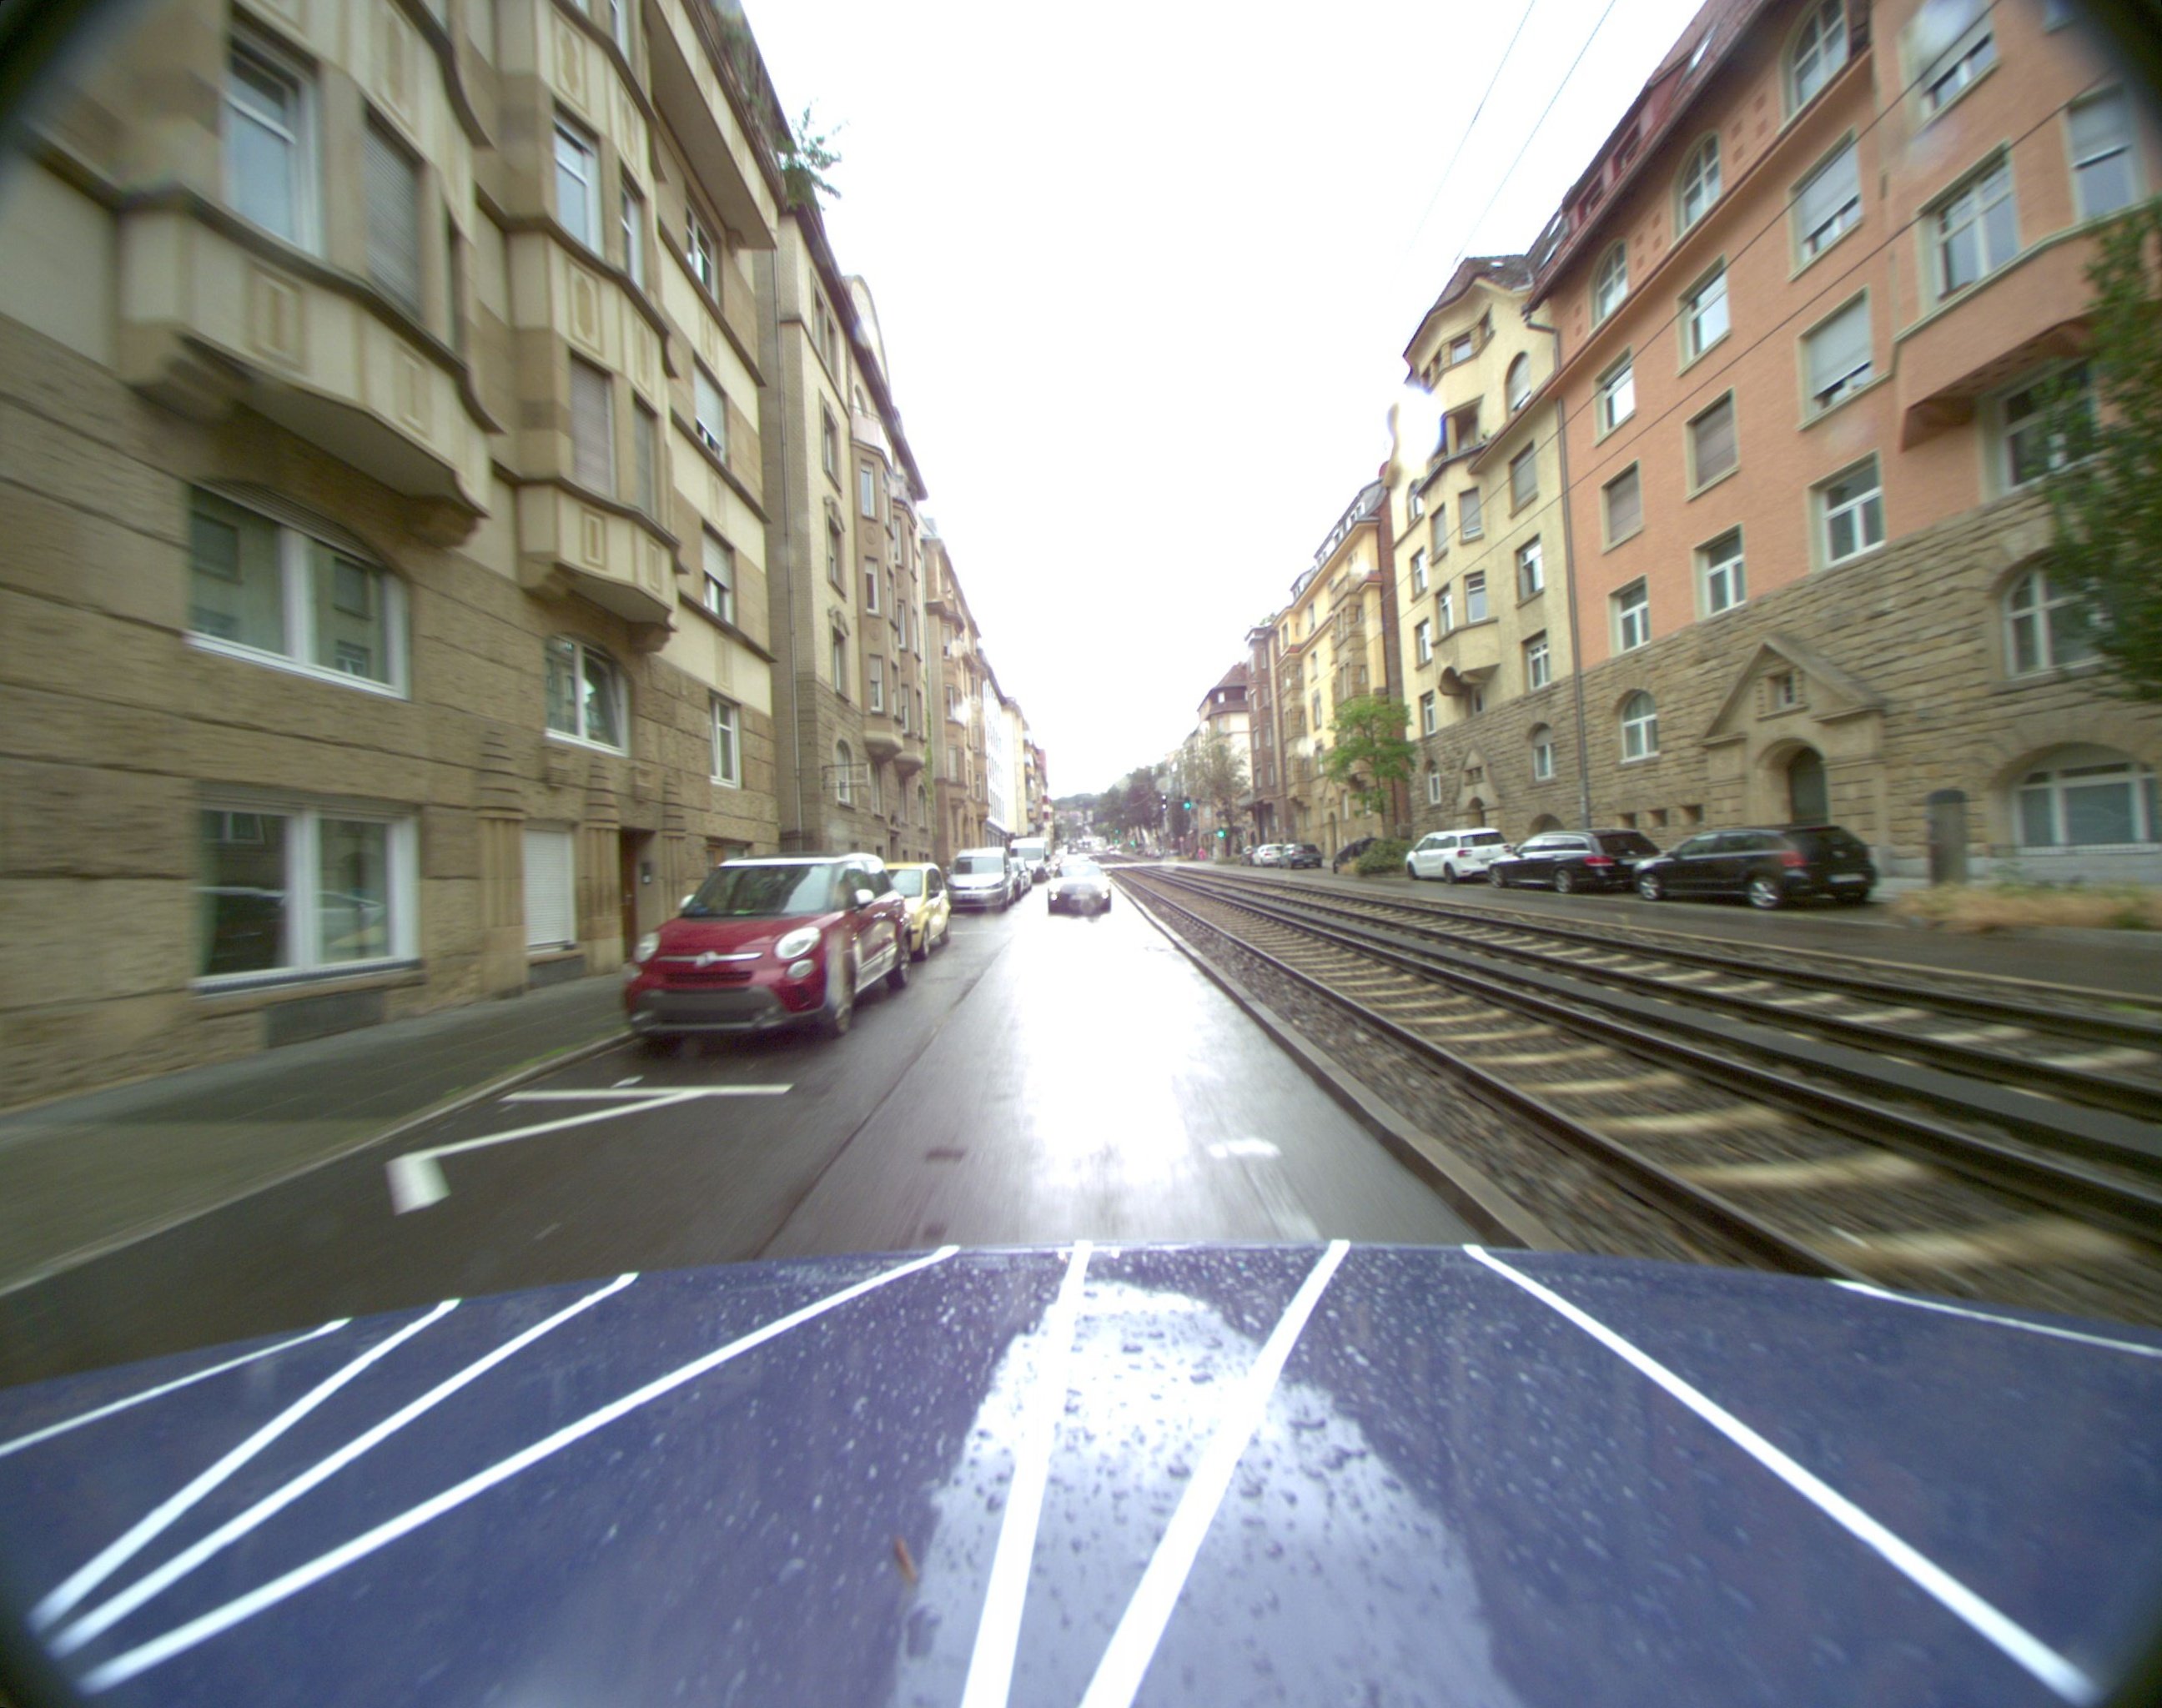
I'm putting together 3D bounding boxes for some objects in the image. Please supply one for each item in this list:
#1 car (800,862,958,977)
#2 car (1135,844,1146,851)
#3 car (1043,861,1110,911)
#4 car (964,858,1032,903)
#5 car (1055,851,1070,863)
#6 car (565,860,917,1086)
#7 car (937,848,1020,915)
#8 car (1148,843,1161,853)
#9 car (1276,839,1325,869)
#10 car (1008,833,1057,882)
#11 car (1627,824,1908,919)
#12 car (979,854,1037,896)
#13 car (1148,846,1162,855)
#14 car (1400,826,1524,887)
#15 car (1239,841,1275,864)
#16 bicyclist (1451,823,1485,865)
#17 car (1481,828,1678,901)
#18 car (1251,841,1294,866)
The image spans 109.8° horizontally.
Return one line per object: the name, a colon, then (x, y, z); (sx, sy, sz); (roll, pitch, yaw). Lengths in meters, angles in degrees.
car: (-3.176, 0.959, 12.650); (1.632, 1.502, 3.531); (-3, 0, -1)
car: (12.596, -1.450, 161.227); (1.794, 1.339, 4.257); (-2, 1, 0)
car: (-0.086, 0.854, 22.026); (1.737, 1.262, 4.258); (0, 0, 1)
car: (-2.925, 0.905, 27.696); (1.931, 1.380, 3.982); (-3, 0, 1)
car: (-2.330, 0.361, 96.801); (1.794, 1.459, 4.257); (-2, 1, 1)
car: (-2.970, 0.910, 7.688); (1.774, 1.592, 3.999); (-1, 0, -1)
car: (-2.950, 0.738, 22.619); (1.811, 1.758, 3.962); (-2, 0, 1)
car: (12.558, -0.971, 130.792); (1.794, 1.609, 4.257); (-2, 1, 0)
car: (12.464, -0.048, 43.382); (1.717, 1.473, 3.712); (-5, 1, 2)
car: (-2.703, 0.158, 43.596); (1.991, 2.520, 6.154); (-3, 0, 3)
car: (12.458, 0.259, 14.156); (1.760, 1.396, 3.694); (-4, 1, -2)
car: (-3.007, 0.839, 32.167); (1.935, 1.516, 4.058); (-3, 0, 1)
car: (11.674, -0.556, 119.610); (1.794, 1.339, 4.257); (-2, 1, 0)
car: (12.225, 0.039, 24.724); (1.759, 1.663, 4.259); (-5, 1, 0)
car: (12.519, -0.149, 54.219); (1.759, 1.419, 3.712); (-5, 1, 2)
bicyclist: (15.028, -0.378, 29.553); (0.894, 1.592, 0.774); (-2, 1, 1)
car: (12.210, 0.195, 19.061); (1.760, 1.482, 4.597); (-4, 1, -1)
car: (12.398, -0.068, 49.444); (1.759, 1.443, 4.043); (-5, 1, 2)
